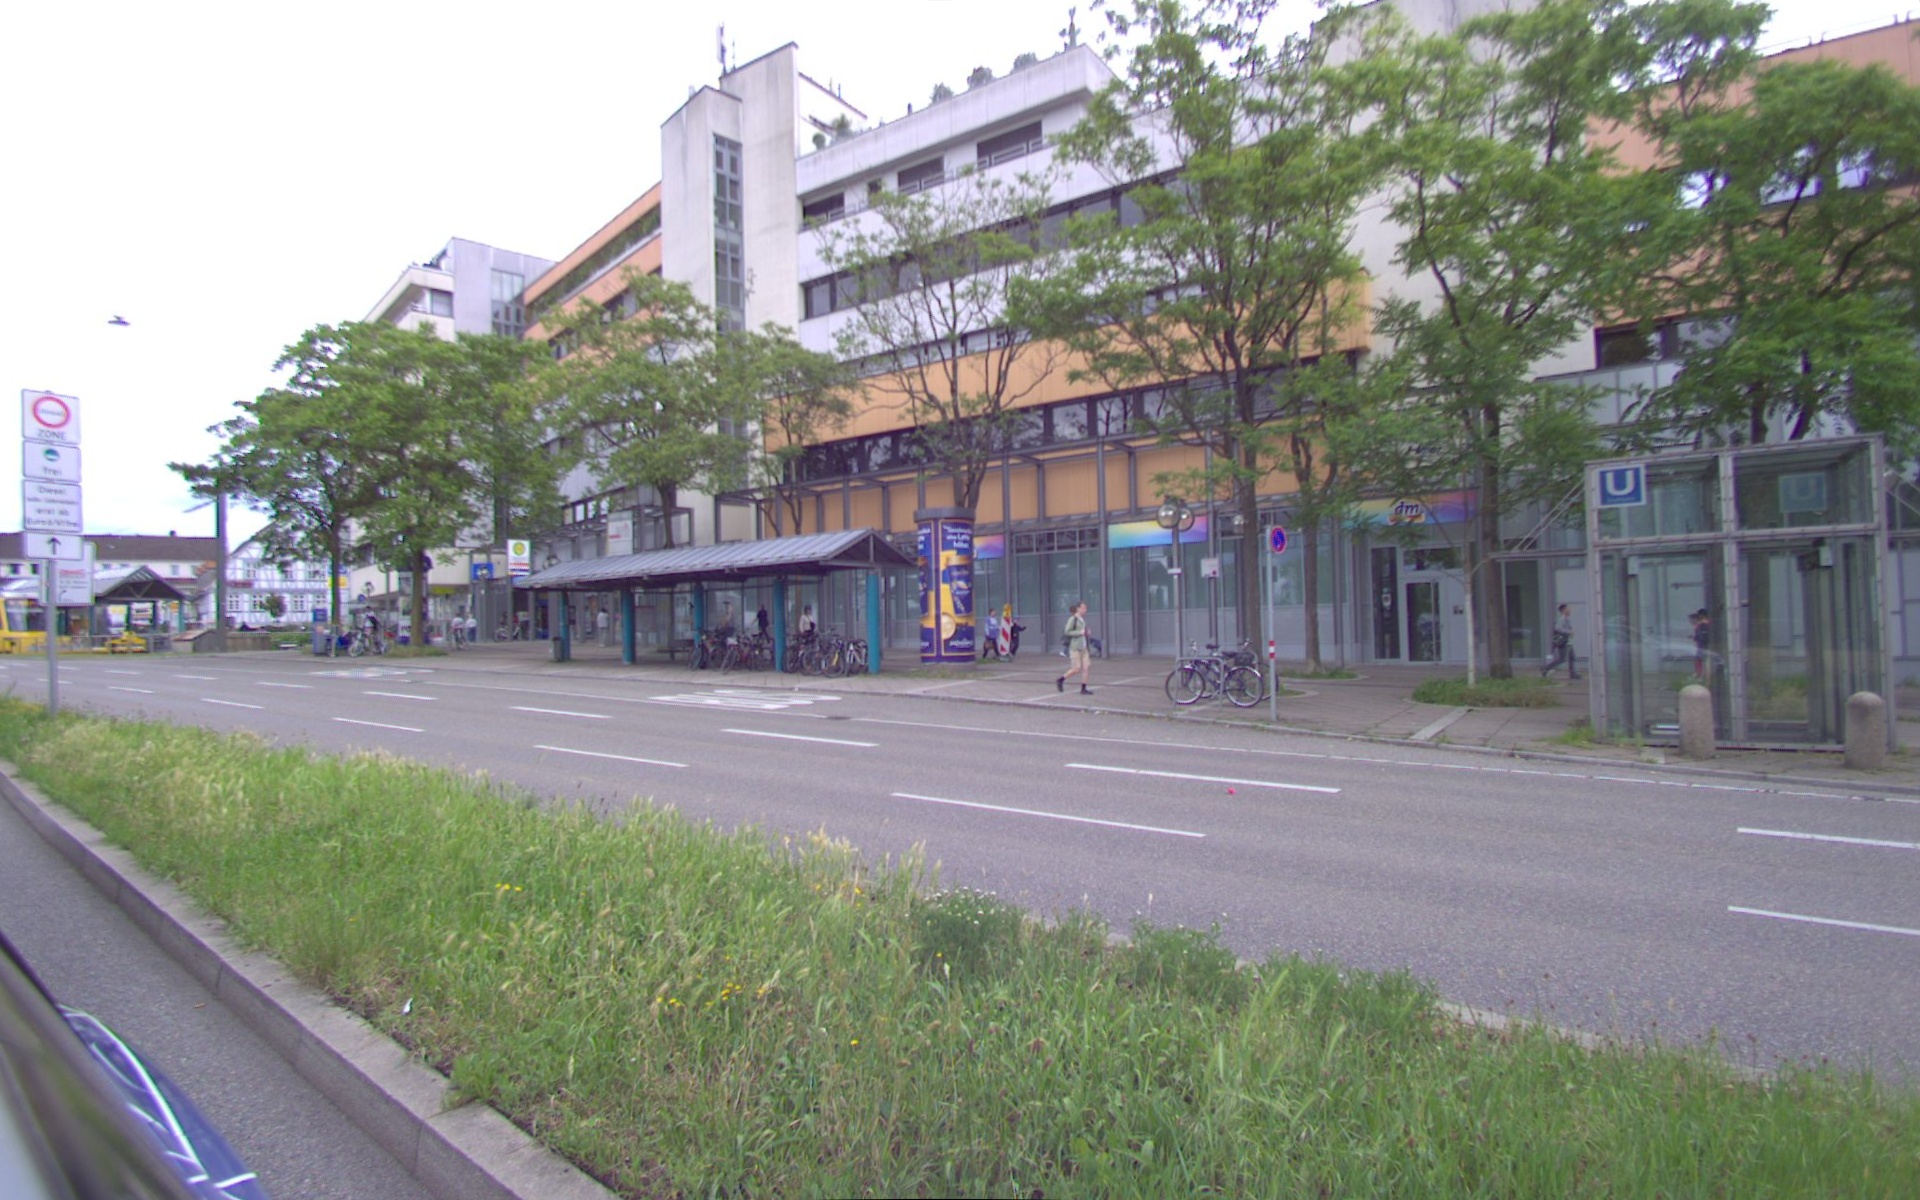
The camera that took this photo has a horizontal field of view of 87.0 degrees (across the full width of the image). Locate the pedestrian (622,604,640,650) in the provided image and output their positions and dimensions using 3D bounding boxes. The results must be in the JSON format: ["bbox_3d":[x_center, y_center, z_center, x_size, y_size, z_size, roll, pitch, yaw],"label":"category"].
[{"bbox_3d":[-14.610,1.182,44.928,0.558,2.029,0.611,1,-2,-44],"label":"pedestrian"}]

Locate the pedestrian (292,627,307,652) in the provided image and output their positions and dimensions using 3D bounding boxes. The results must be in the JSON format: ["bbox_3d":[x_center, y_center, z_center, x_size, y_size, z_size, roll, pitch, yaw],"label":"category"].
[{"bbox_3d":[-41.867,2.497,64.120,0.581,1.554,0.570,-1,-2,32],"label":"pedestrian"}]

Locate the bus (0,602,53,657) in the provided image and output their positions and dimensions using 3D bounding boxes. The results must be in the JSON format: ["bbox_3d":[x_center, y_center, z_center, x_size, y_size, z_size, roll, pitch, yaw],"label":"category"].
[{"bbox_3d":[-55.985,1.686,58.612,8.470,3.006,2.530,-1,-2,29],"label":"bus"}]

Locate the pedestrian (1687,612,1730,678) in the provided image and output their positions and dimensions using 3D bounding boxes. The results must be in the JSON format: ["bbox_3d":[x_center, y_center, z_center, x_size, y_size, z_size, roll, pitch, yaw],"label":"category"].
[{"bbox_3d":[16.028,0.951,21.692,0.694,1.385,0.578,-1,-2,34],"label":"pedestrian"}]

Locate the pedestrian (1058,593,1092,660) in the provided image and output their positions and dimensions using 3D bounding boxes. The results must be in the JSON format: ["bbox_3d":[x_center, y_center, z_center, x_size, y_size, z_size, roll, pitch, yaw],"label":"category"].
[{"bbox_3d":[3.525,0.804,30.946,0.791,2.029,0.703,-1,0,31],"label":"pedestrian"}]

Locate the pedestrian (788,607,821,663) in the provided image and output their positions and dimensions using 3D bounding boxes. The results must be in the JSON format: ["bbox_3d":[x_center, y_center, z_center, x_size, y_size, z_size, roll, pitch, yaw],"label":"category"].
[{"bbox_3d":[-4.695,1.037,30.543,0.721,1.662,0.669,-1,-1,37],"label":"pedestrian"}]

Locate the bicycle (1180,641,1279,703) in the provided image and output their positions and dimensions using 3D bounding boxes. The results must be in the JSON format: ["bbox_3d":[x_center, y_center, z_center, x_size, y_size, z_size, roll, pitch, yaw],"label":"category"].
[{"bbox_3d":[4.981,1.316,18.787,1.737,1.074,0.542,-2,-1,45],"label":"bicycle"}]

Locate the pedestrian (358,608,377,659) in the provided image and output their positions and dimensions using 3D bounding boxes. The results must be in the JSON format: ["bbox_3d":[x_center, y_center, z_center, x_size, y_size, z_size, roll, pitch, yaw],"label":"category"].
[{"bbox_3d":[-27.383,1.556,46.775,0.608,2.325,0.583,-1,-2,39],"label":"pedestrian"}]

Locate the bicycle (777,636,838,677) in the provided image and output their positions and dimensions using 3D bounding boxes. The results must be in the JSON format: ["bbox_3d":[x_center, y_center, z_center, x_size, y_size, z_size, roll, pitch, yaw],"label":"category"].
[{"bbox_3d":[-4.141,1.518,27.558,0.549,1.048,1.714,-2,-1,38],"label":"bicycle"}]

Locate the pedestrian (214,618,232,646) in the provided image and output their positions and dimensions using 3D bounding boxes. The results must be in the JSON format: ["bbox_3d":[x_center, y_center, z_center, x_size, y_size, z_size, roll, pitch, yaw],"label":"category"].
[{"bbox_3d":[-53.810,2.343,73.897,0.867,2.029,1.010,1,-2,-44],"label":"pedestrian"}]

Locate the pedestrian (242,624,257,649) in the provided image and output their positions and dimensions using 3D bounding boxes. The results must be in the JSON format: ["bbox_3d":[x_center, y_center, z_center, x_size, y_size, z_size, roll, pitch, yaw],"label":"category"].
[{"bbox_3d":[-45.348,2.313,64.615,0.581,1.554,0.570,-1,-2,32],"label":"pedestrian"}]

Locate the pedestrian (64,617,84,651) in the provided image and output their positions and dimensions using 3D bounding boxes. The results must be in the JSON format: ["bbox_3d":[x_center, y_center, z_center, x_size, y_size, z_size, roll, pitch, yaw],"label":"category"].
[{"bbox_3d":[-53.207,2.027,60.793,0.663,2.029,0.632,-1,-2,21],"label":"pedestrian"}]

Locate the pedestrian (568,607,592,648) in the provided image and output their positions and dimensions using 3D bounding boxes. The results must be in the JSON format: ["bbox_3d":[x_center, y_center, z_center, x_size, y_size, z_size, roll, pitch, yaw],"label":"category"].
[{"bbox_3d":[-17.433,1.265,46.388,0.752,1.859,0.755,-1,-2,41],"label":"pedestrian"}]

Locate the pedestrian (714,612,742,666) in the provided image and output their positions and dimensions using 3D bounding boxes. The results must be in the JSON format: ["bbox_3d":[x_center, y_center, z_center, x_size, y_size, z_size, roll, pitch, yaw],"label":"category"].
[{"bbox_3d":[-7.791,1.294,34.023,0.769,1.800,0.525,-1,-2,33],"label":"pedestrian"}]

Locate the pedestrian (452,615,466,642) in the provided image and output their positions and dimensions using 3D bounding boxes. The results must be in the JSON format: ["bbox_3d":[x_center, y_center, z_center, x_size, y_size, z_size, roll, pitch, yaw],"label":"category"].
[{"bbox_3d":[-27.620,1.572,55.803,0.548,1.506,0.454,1,-2,-41],"label":"pedestrian"}]

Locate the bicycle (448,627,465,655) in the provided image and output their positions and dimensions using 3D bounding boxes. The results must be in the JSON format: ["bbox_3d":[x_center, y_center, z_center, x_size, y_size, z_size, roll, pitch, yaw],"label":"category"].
[{"bbox_3d":[-21.355,1.710,42.926,0.584,1.134,2.044,1,-1,-26],"label":"bicycle"}]

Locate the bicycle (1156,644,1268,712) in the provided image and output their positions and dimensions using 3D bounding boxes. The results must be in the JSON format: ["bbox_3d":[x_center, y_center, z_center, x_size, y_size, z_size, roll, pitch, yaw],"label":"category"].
[{"bbox_3d":[4.365,1.327,17.595,0.802,1.068,1.739,0,-1,-40],"label":"bicycle"}]

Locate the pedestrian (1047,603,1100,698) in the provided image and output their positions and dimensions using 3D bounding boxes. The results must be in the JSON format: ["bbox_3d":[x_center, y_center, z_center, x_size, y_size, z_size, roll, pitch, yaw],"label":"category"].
[{"bbox_3d":[2.254,0.984,20.120,0.916,1.846,0.533,-1,-2,25],"label":"pedestrian"}]

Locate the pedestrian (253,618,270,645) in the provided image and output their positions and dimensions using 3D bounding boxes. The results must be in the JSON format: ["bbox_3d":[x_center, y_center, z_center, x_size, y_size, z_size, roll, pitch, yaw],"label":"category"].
[{"bbox_3d":[-51.317,2.310,74.352,0.867,2.029,1.010,1,-2,-44],"label":"pedestrian"}]

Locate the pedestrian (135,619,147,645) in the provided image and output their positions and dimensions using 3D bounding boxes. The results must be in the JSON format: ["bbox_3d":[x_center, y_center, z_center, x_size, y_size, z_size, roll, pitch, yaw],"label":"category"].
[{"bbox_3d":[-63.968,2.516,79.046,0.731,2.029,0.940,1,-2,-39],"label":"pedestrian"}]

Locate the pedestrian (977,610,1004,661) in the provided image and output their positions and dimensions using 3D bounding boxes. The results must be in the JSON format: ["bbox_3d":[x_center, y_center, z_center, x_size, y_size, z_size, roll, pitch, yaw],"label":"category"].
[{"bbox_3d":[0.926,1.053,30.519,0.620,1.515,0.563,-1,-2,31],"label":"pedestrian"}]

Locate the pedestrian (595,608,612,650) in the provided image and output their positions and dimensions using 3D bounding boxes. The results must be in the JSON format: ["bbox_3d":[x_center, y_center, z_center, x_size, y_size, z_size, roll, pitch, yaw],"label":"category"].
[{"bbox_3d":[-15.476,1.246,43.904,0.639,1.823,0.761,0,-2,-16],"label":"pedestrian"}]

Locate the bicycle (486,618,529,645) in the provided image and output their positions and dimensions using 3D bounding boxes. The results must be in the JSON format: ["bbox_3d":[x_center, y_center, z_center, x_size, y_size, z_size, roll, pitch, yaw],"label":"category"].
[{"bbox_3d":[-24.951,1.729,55.785,2.107,1.385,0.621,-1,0,-31],"label":"bicycle"}]

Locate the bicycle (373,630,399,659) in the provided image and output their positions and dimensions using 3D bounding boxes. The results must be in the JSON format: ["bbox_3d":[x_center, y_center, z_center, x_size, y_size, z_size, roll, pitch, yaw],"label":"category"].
[{"bbox_3d":[-22.750,1.756,40.106,0.584,1.085,2.044,0,-1,-21],"label":"bicycle"}]

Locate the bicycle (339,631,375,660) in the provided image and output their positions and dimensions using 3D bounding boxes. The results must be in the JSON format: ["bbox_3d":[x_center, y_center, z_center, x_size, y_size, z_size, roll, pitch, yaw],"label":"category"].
[{"bbox_3d":[-23.617,1.769,39.649,0.585,1.085,2.042,0,-1,-12],"label":"bicycle"}]

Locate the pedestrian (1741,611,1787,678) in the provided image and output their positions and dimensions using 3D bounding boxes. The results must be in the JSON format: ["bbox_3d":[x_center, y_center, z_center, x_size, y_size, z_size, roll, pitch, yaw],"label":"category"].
[{"bbox_3d":[17.111,0.936,21.556,0.694,1.385,0.578,-1,-2,34],"label":"pedestrian"}]

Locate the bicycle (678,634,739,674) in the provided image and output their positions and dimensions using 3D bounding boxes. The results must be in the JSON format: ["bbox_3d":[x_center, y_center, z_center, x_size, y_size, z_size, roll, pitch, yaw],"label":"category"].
[{"bbox_3d":[-7.236,1.538,29.146,0.549,1.048,1.714,-2,0,38],"label":"bicycle"}]

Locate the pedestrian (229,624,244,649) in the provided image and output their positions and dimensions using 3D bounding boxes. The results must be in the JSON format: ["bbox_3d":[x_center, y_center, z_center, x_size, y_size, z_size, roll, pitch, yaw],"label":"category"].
[{"bbox_3d":[-45.715,2.314,63.931,0.581,1.554,0.570,-1,-2,32],"label":"pedestrian"}]

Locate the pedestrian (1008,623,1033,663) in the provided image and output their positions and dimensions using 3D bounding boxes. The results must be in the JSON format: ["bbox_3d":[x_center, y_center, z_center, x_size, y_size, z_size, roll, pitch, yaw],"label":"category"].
[{"bbox_3d":[1.846,1.301,30.843,0.620,1.190,0.418,-1,-2,31],"label":"pedestrian"}]

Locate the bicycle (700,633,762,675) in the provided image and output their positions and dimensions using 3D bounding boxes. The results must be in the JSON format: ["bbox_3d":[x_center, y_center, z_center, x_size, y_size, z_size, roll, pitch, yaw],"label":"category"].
[{"bbox_3d":[-6.458,1.515,28.581,0.549,1.048,1.714,-2,1,38],"label":"bicycle"}]

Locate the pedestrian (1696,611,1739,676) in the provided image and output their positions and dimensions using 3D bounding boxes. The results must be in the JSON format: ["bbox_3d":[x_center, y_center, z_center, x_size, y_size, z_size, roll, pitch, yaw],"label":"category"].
[{"bbox_3d":[16.540,0.944,22.112,0.694,1.385,0.578,-1,-2,34],"label":"pedestrian"}]

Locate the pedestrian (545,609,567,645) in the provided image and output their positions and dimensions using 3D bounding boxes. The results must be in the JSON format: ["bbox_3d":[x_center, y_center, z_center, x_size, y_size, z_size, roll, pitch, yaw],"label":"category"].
[{"bbox_3d":[-19.590,1.300,49.069,0.752,1.695,0.755,-1,-2,41],"label":"pedestrian"}]

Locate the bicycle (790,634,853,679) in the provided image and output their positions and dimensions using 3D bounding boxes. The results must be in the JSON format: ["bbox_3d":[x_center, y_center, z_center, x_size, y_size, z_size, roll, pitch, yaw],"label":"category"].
[{"bbox_3d":[-3.617,1.461,26.590,0.549,1.048,1.714,-2,0,38],"label":"bicycle"}]

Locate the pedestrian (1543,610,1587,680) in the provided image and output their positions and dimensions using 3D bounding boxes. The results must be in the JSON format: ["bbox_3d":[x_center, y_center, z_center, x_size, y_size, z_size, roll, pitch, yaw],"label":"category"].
[{"bbox_3d":[13.188,0.971,22.059,0.754,1.491,0.524,-1,-2,36],"label":"pedestrian"}]

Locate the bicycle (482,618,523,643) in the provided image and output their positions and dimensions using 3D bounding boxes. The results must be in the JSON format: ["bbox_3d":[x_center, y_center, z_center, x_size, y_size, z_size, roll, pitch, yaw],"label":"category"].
[{"bbox_3d":[-26.100,1.739,57.763,2.106,1.377,0.621,-1,0,-24],"label":"bicycle"}]

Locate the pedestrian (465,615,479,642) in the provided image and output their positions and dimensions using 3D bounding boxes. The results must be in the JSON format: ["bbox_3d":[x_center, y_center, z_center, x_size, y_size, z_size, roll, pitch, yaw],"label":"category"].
[{"bbox_3d":[-27.091,1.565,56.187,0.548,1.506,0.454,1,-2,-41],"label":"pedestrian"}]

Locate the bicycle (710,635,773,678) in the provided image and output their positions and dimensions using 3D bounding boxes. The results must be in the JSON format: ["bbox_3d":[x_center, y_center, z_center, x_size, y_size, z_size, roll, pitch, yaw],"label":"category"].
[{"bbox_3d":[-5.963,1.533,27.719,0.549,1.048,1.714,-2,1,38],"label":"bicycle"}]

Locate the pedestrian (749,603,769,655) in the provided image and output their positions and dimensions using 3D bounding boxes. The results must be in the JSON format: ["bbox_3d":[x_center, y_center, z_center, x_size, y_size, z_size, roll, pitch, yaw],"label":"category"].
[{"bbox_3d":[-7.966,1.137,40.078,0.558,2.029,0.611,1,-2,-44],"label":"pedestrian"}]

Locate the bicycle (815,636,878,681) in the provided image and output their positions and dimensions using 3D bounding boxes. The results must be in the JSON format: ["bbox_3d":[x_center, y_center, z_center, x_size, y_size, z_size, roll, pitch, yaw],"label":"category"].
[{"bbox_3d":[-2.907,1.477,26.057,0.549,1.048,1.714,-2,0,38],"label":"bicycle"}]
